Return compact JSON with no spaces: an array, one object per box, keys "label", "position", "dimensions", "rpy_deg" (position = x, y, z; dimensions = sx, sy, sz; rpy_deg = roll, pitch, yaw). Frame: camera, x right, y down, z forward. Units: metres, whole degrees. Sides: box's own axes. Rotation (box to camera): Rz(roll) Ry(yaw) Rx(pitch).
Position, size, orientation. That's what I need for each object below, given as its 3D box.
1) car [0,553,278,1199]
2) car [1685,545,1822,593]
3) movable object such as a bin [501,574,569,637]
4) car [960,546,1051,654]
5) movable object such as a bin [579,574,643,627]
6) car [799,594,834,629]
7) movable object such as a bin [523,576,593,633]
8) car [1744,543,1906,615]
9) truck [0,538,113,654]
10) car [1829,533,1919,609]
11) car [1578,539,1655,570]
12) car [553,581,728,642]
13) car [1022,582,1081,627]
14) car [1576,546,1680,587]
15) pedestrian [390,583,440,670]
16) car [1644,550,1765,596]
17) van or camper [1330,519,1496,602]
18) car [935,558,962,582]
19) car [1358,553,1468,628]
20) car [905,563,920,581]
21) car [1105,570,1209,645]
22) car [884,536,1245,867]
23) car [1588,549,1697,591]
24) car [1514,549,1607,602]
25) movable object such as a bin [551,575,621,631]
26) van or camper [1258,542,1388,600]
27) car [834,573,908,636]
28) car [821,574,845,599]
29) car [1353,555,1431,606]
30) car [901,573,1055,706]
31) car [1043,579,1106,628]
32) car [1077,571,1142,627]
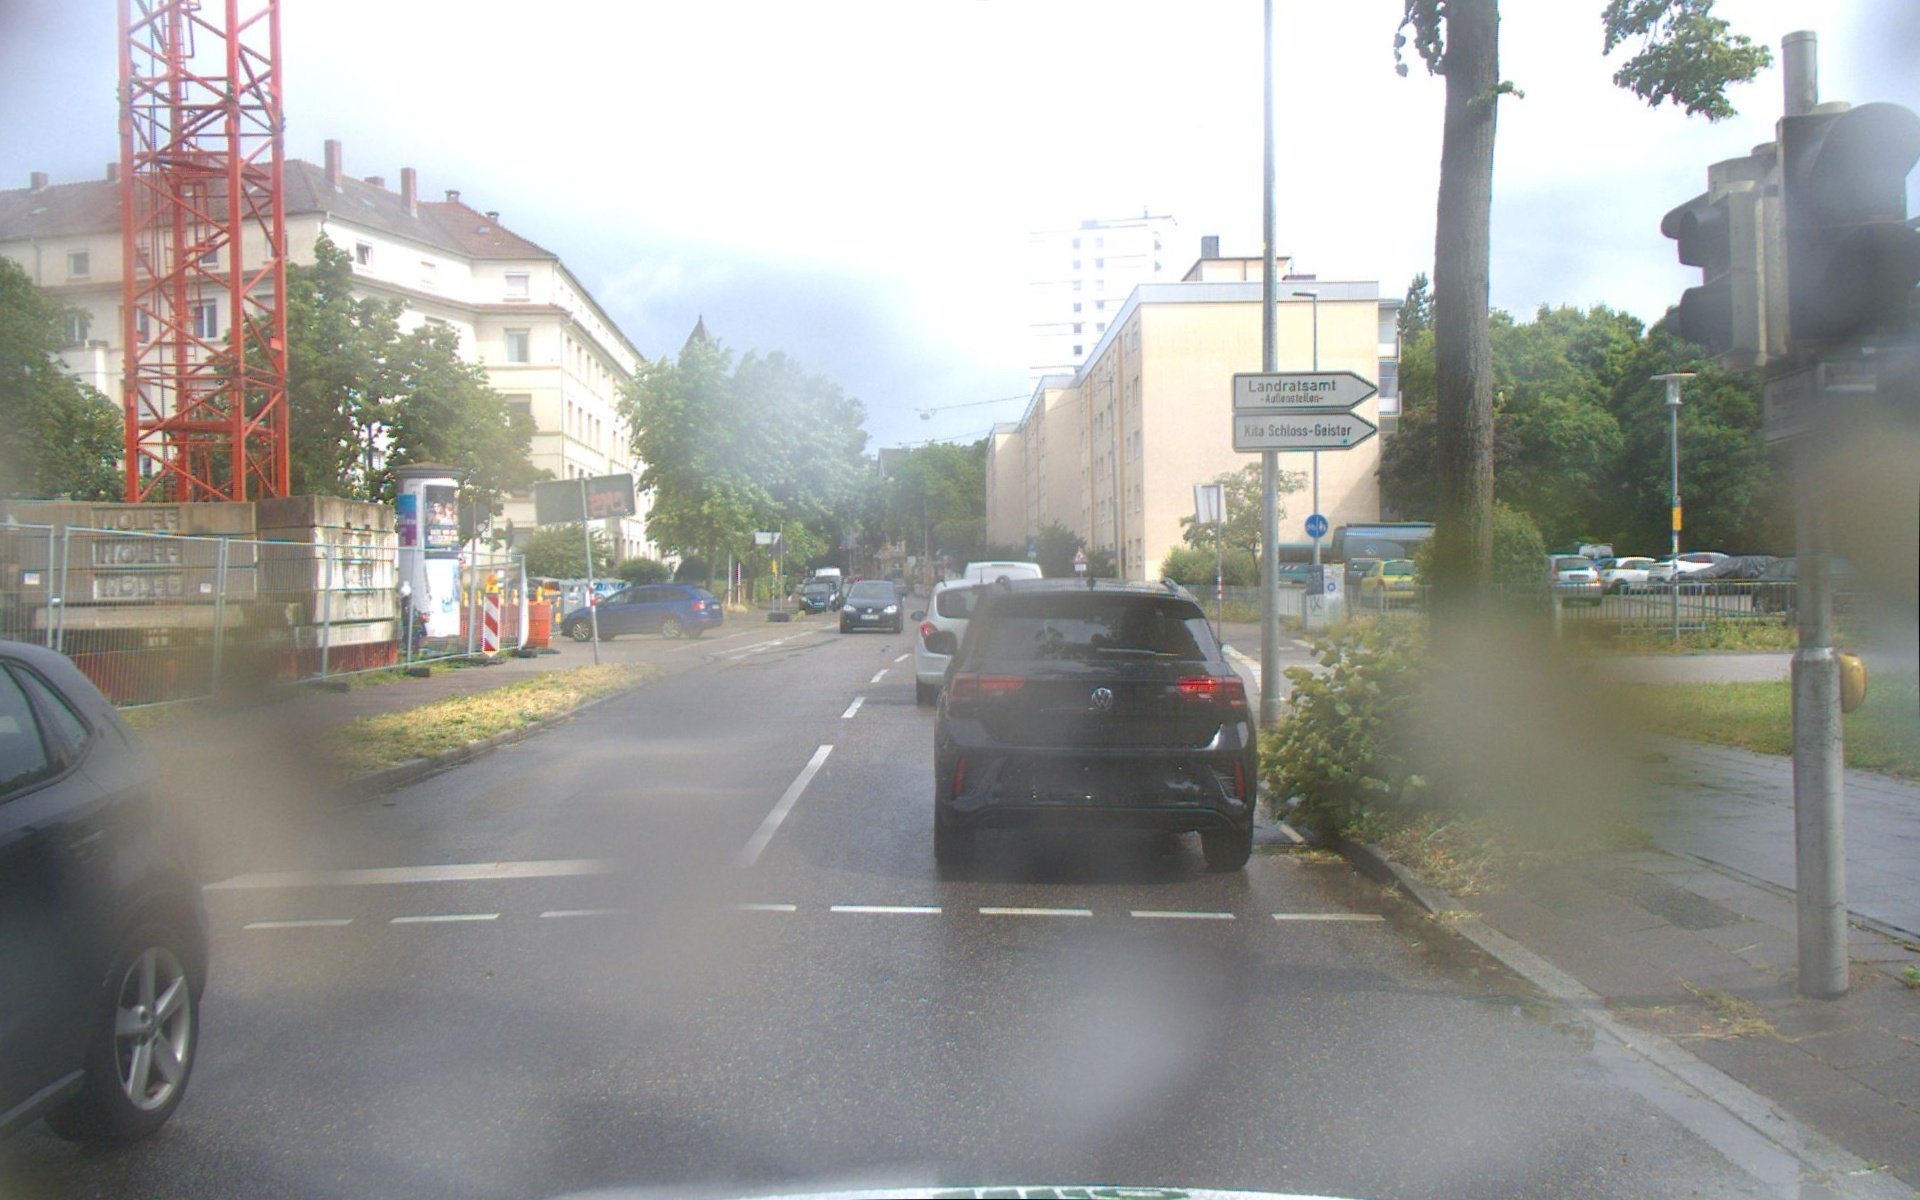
[{"label":"car","position":[-3.067,0.709,3.293],"dimensions":[1.776,1.567,3.981],"rpy_deg":[-2,1,-1]},{"label":"car","position":[27.345,-1.064,57.060],"dimensions":[3.892,1.490,1.673],"rpy_deg":[-2,1,1]},{"label":"movable object such as a bin","position":[-12.932,0.161,50.357],"dimensions":[1.505,1.856,1.264],"rpy_deg":[-1,1,18]},{"label":"car","position":[0.955,-0.004,35.203],"dimensions":[1.798,2.139,4.001],"rpy_deg":[1,0,1]},{"label":"movable object such as a bin","position":[-11.600,0.007,54.993],"dimensions":[1.505,1.691,1.460],"rpy_deg":[-1,1,18]},{"label":"car","position":[-6.875,0.549,79.134],"dimensions":[1.555,1.532,4.061],"rpy_deg":[-2,1,-5]},{"label":"movable object such as a bin","position":[-12.598,0.136,51.902],"dimensions":[1.505,1.685,1.529],"rpy_deg":[-1,1,18]},{"label":"car","position":[20.497,-0.512,39.416],"dimensions":[1.790,1.553,4.426],"rpy_deg":[-2,1,4]},{"label":"truck","position":[-30.634,-0.021,48.960],"dimensions":[9.603,3.239,3.796],"rpy_deg":[-2,1,13]},{"label":"car","position":[22.862,-0.724,39.853],"dimensions":[1.814,1.708,4.426],"rpy_deg":[-2,1,5]},{"label":"car","position":[32.102,-2.219,80.974],"dimensions":[3.158,1.422,1.509],"rpy_deg":[-2,1,3]},{"label":"car","position":[-8.749,0.305,45.445],"dimensions":[4.338,1.612,1.823],"rpy_deg":[0,1,13]},{"label":"car","position":[3.423,0.200,62.521],"dimensions":[1.714,1.534,4.107],"rpy_deg":[-1,-2,-4]},{"label":"car","position":[27.113,-1.363,67.202],"dimensions":[3.590,1.512,1.640],"rpy_deg":[-2,1,3]},{"label":"pedestrian","position":[-10.536,0.506,31.949],"dimensions":[0.716,1.658,0.675],"rpy_deg":[1,-1,-38]},{"label":"car","position":[26.766,-0.974,59.543],"dimensions":[3.590,1.512,1.640],"rpy_deg":[-2,1,3]},{"label":"van or camper","position":[14.940,-1.281,54.726],"dimensions":[4.895,2.599,2.175],"rpy_deg":[-1,0,1]},{"label":"car","position":[-0.791,-2.167,118.654],"dimensions":[1.803,1.636,3.676],"rpy_deg":[-3,1,1]},{"label":"car","position":[11.648,-0.264,42.809],"dimensions":[1.766,1.780,4.239],"rpy_deg":[-2,1,2]},{"label":"car","position":[-5.220,-3.075,181.400],"dimensions":[1.632,1.870,3.998],"rpy_deg":[-2,1,-3]},{"label":"car","position":[4.608,0.134,39.293],"dimensions":[1.738,1.566,4.377],"rpy_deg":[-3,1,-2]},{"label":"car","position":[0.517,0.521,10.511],"dimensions":[1.835,1.674,4.061],"rpy_deg":[1,0,-1]},{"label":"car","position":[26.826,-1.162,65.075],"dimensions":[3.590,1.512,1.640],"rpy_deg":[-2,1,3]},{"label":"car","position":[18.341,-0.751,50.649],"dimensions":[1.614,1.512,3.720],"rpy_deg":[-2,1,2]},{"label":"movable object such as a bin","position":[-12.084,0.082,53.471],"dimensions":[1.505,1.703,1.667],"rpy_deg":[-1,1,18]},{"label":"van or camper","position":[14.244,-1.149,65.073],"dimensions":[4.660,2.168,2.323],"rpy_deg":[-1,1,3]},{"label":"car","position":[-2.499,0.094,47.448],"dimensions":[1.803,1.636,4.000],"rpy_deg":[-3,1,1]},{"label":"car","position":[-8.825,-0.935,114.978],"dimensions":[1.555,1.668,3.916],"rpy_deg":[-2,1,-5]},{"label":"car","position":[13.287,-0.609,51.067],"dimensions":[1.577,1.474,3.418],"rpy_deg":[-2,1,2]},{"label":"car","position":[0.196,0.466,21.322],"dimensions":[1.776,1.529,3.999],"rpy_deg":[1,0,0]},{"label":"car","position":[3.856,0.110,56.303],"dimensions":[1.572,1.534,4.158],"rpy_deg":[-3,0,-3]},{"label":"car","position":[4.556,0.003,50.858],"dimensions":[1.720,1.554,4.001],"rpy_deg":[-4,-1,3]}]
